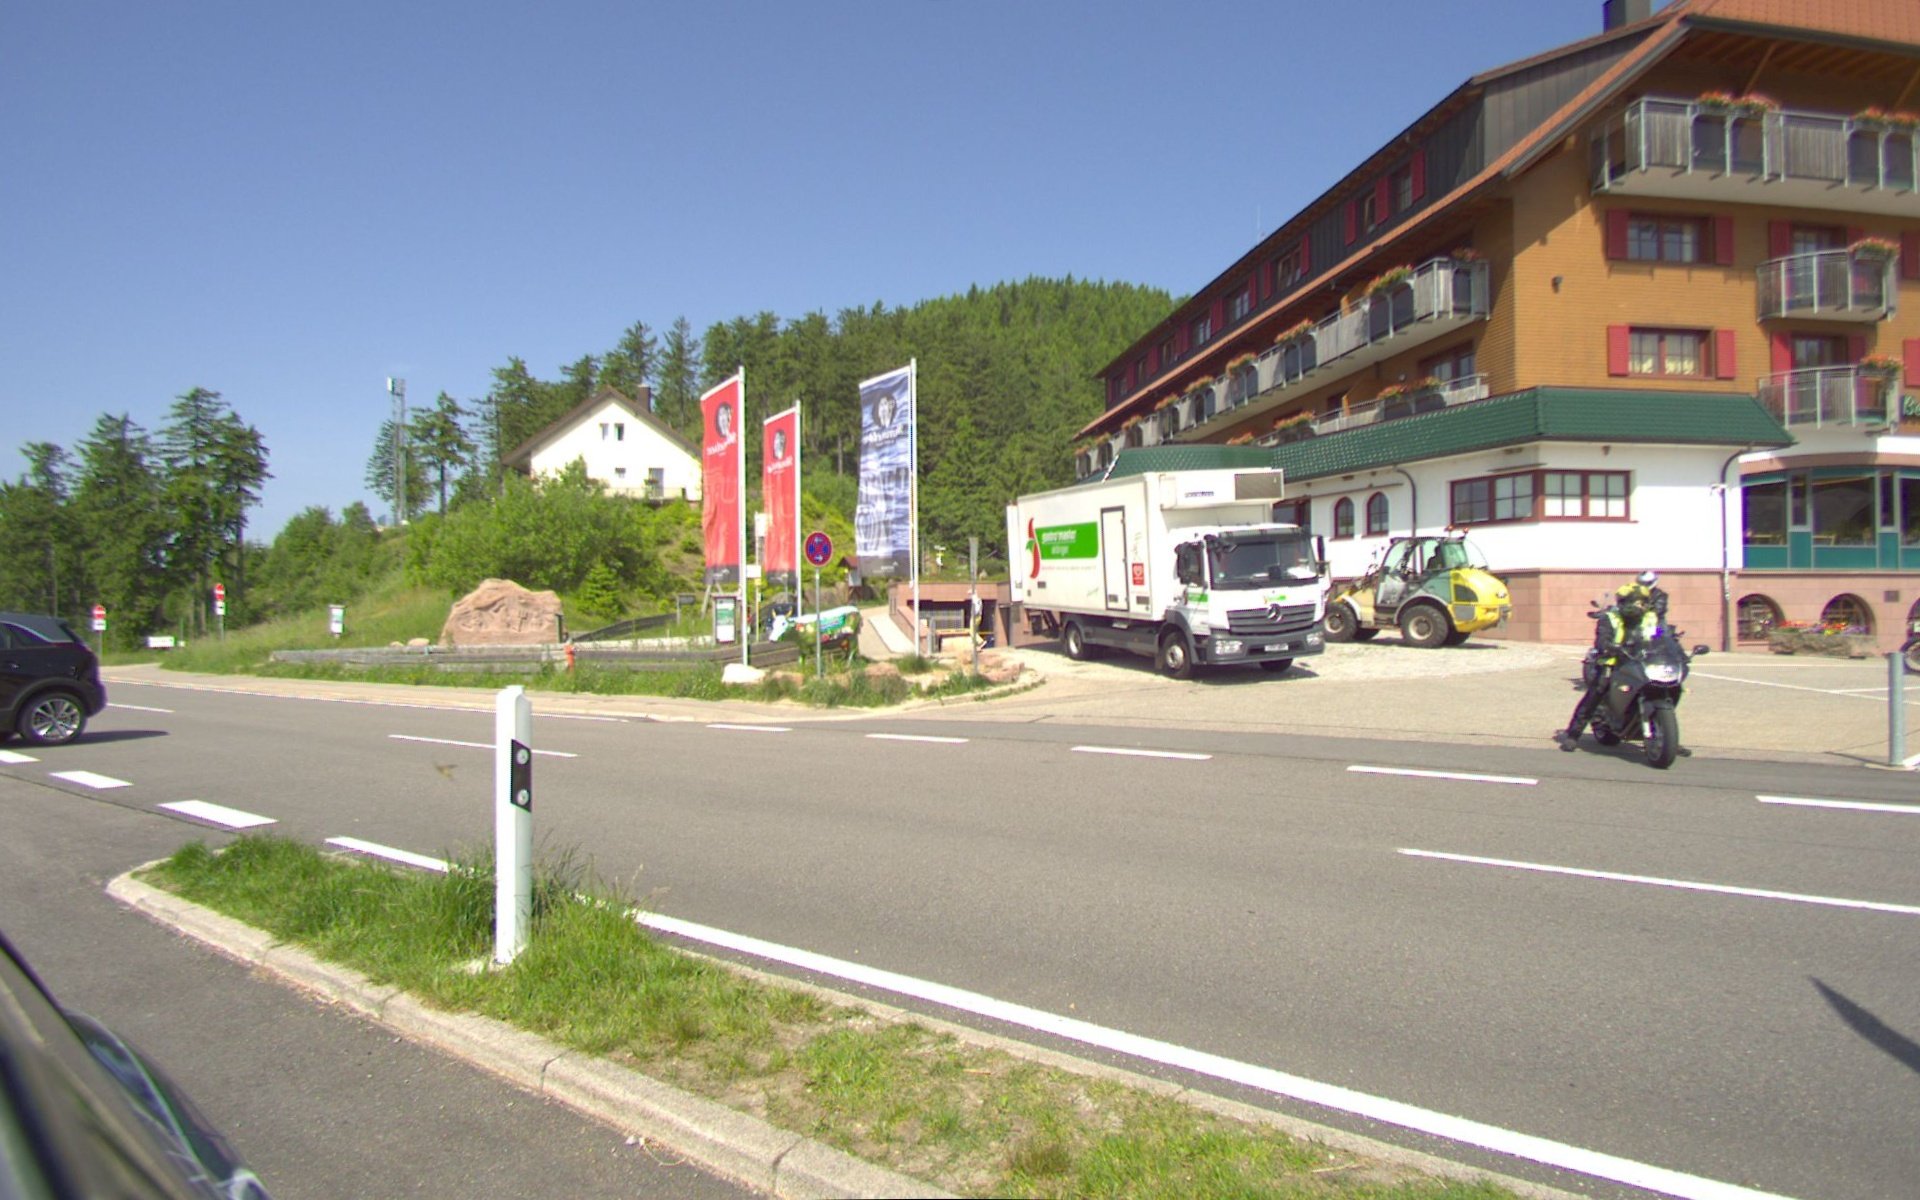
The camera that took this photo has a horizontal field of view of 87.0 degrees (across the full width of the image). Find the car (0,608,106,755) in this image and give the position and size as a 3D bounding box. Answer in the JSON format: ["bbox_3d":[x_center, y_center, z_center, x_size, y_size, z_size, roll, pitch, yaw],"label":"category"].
[{"bbox_3d":[-12.016,0.922,10.731,1.976,1.629,4.113,-1,0,26],"label":"car"}]

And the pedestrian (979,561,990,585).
[{"bbox_3d":[1.678,-1.851,69.321,0.565,1.553,0.633,-6,4,-7],"label":"pedestrian"}]

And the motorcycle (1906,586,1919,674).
[{"bbox_3d":[16.568,0.488,15.909,2.444,1.417,0.992,1,1,43],"label":"motorcycle"}]

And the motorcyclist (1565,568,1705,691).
[{"bbox_3d":[9.995,0.415,15.019,1.429,1.730,0.927,-2,0,-6],"label":"motorcyclist"}]

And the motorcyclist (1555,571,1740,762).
[{"bbox_3d":[6.526,0.606,9.710,1.018,1.688,1.288,-1,-1,12],"label":"motorcyclist"}]

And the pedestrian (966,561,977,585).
[{"bbox_3d":[0.784,-1.870,69.633,0.565,1.553,0.633,-6,4,-7],"label":"pedestrian"}]

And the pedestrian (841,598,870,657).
[{"bbox_3d":[-3.125,0.822,30.163,0.687,1.729,0.801,0,-2,-19],"label":"pedestrian"}]

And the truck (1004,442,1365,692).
[{"bbox_3d":[3.956,-0.671,20.783,3.018,4.001,8.800,-3,2,-18],"label":"truck"}]

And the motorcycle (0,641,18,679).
[{"bbox_3d":[-33.383,2.047,34.988,2.323,1.275,0.803,-2,-2,37],"label":"motorcycle"}]

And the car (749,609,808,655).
[{"bbox_3d":[-6.730,1.152,37.862,1.851,1.364,4.006,0,4,-6],"label":"car"}]

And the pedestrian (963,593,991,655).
[{"bbox_3d":[0.469,0.675,28.440,0.565,1.702,0.655,0,-2,-19],"label":"pedestrian"}]

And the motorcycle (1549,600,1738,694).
[{"bbox_3d":[10.099,0.671,14.998,2.242,1.266,0.880,-2,0,-6],"label":"motorcycle"}]

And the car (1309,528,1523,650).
[{"bbox_3d":[10.225,-0.248,22.833,3.998,2.515,1.973,1,0,41],"label":"car"}]

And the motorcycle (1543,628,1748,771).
[{"bbox_3d":[6.562,0.886,9.868,0.816,1.186,2.278,-1,-1,12],"label":"motorcycle"}]
